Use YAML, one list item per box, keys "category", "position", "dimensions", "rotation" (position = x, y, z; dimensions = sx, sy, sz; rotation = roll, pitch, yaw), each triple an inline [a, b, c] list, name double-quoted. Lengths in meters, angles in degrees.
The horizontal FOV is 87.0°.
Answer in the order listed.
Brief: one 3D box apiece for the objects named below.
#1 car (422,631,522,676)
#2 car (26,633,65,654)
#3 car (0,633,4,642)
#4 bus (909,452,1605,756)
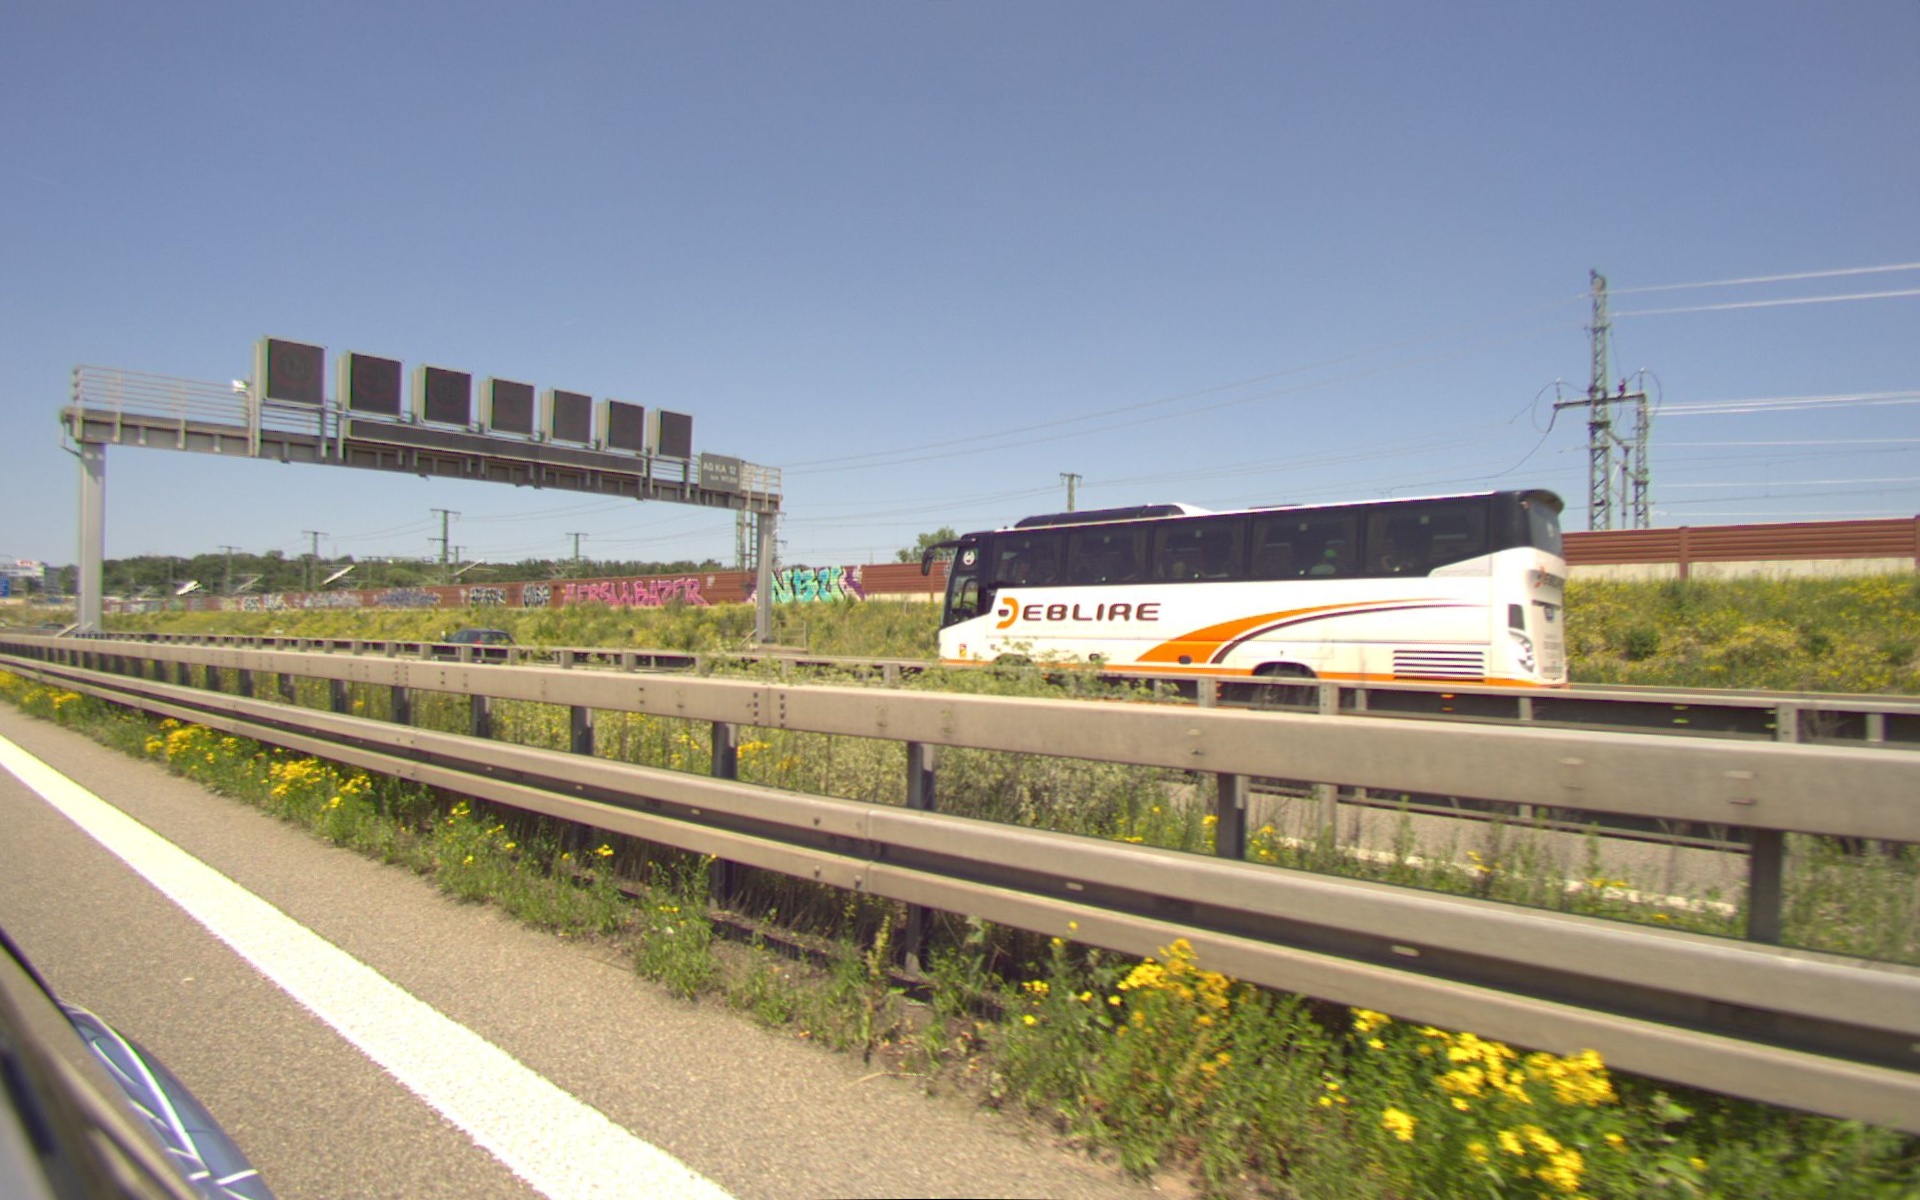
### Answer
- category: "car"
  position: [-17.121, 1.871, 35.437]
  dimensions: [3.998, 1.485, 1.674]
  rotation: [-2, -4, 42]
- category: "car"
  position: [-69.890, 3.306, 77.354]
  dimensions: [3.999, 1.586, 1.785]
  rotation: [-2, -1, 42]
- category: "car"
  position: [-160.930, 6.299, 168.905]
  dimensions: [3.808, 1.556, 1.702]
  rotation: [-1, -2, 42]
- category: "bus"
  position: [4.092, 0.133, 16.910]
  dimensions: [10.935, 3.673, 2.827]
  rotation: [-2, 0, 41]
